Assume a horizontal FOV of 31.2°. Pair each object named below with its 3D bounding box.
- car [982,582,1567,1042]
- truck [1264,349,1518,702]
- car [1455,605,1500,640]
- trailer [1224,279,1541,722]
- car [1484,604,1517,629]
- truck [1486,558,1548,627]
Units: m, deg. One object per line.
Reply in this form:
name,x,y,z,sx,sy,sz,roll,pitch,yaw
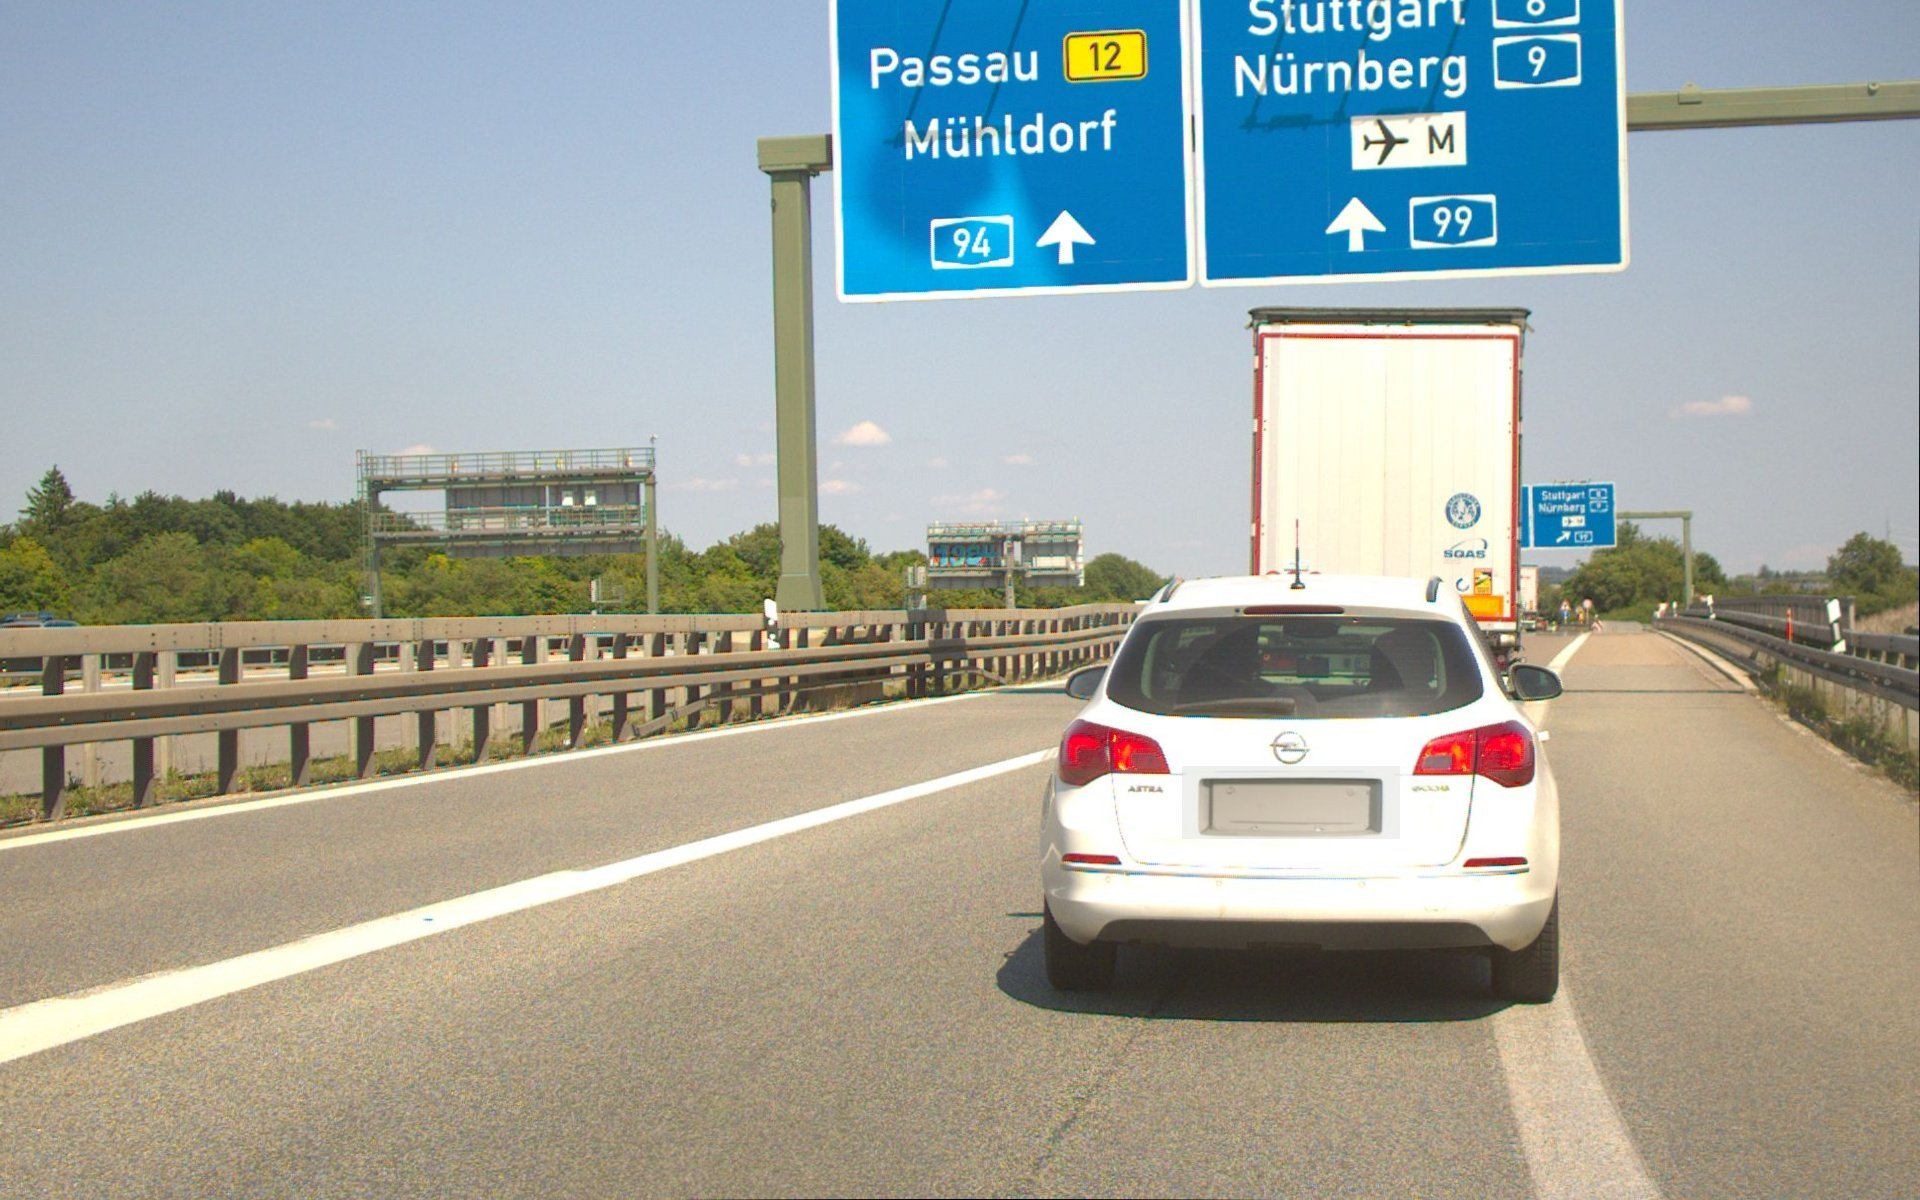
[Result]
car,1.298,0.670,13.151,1.855,1.438,4.370,0,0,8
truck,5.618,-0.835,43.904,2.913,4.131,6.923,1,-1,9
car,22.233,0.976,147.699,1.654,1.376,3.998,2,0,12
trailer,4.744,-0.860,37.800,2.913,4.131,11.253,1,-1,8
car,30.851,0.950,196.177,1.654,1.376,3.998,2,0,12
truck,35.773,-0.448,220.551,3.540,4.131,11.252,2,0,10
